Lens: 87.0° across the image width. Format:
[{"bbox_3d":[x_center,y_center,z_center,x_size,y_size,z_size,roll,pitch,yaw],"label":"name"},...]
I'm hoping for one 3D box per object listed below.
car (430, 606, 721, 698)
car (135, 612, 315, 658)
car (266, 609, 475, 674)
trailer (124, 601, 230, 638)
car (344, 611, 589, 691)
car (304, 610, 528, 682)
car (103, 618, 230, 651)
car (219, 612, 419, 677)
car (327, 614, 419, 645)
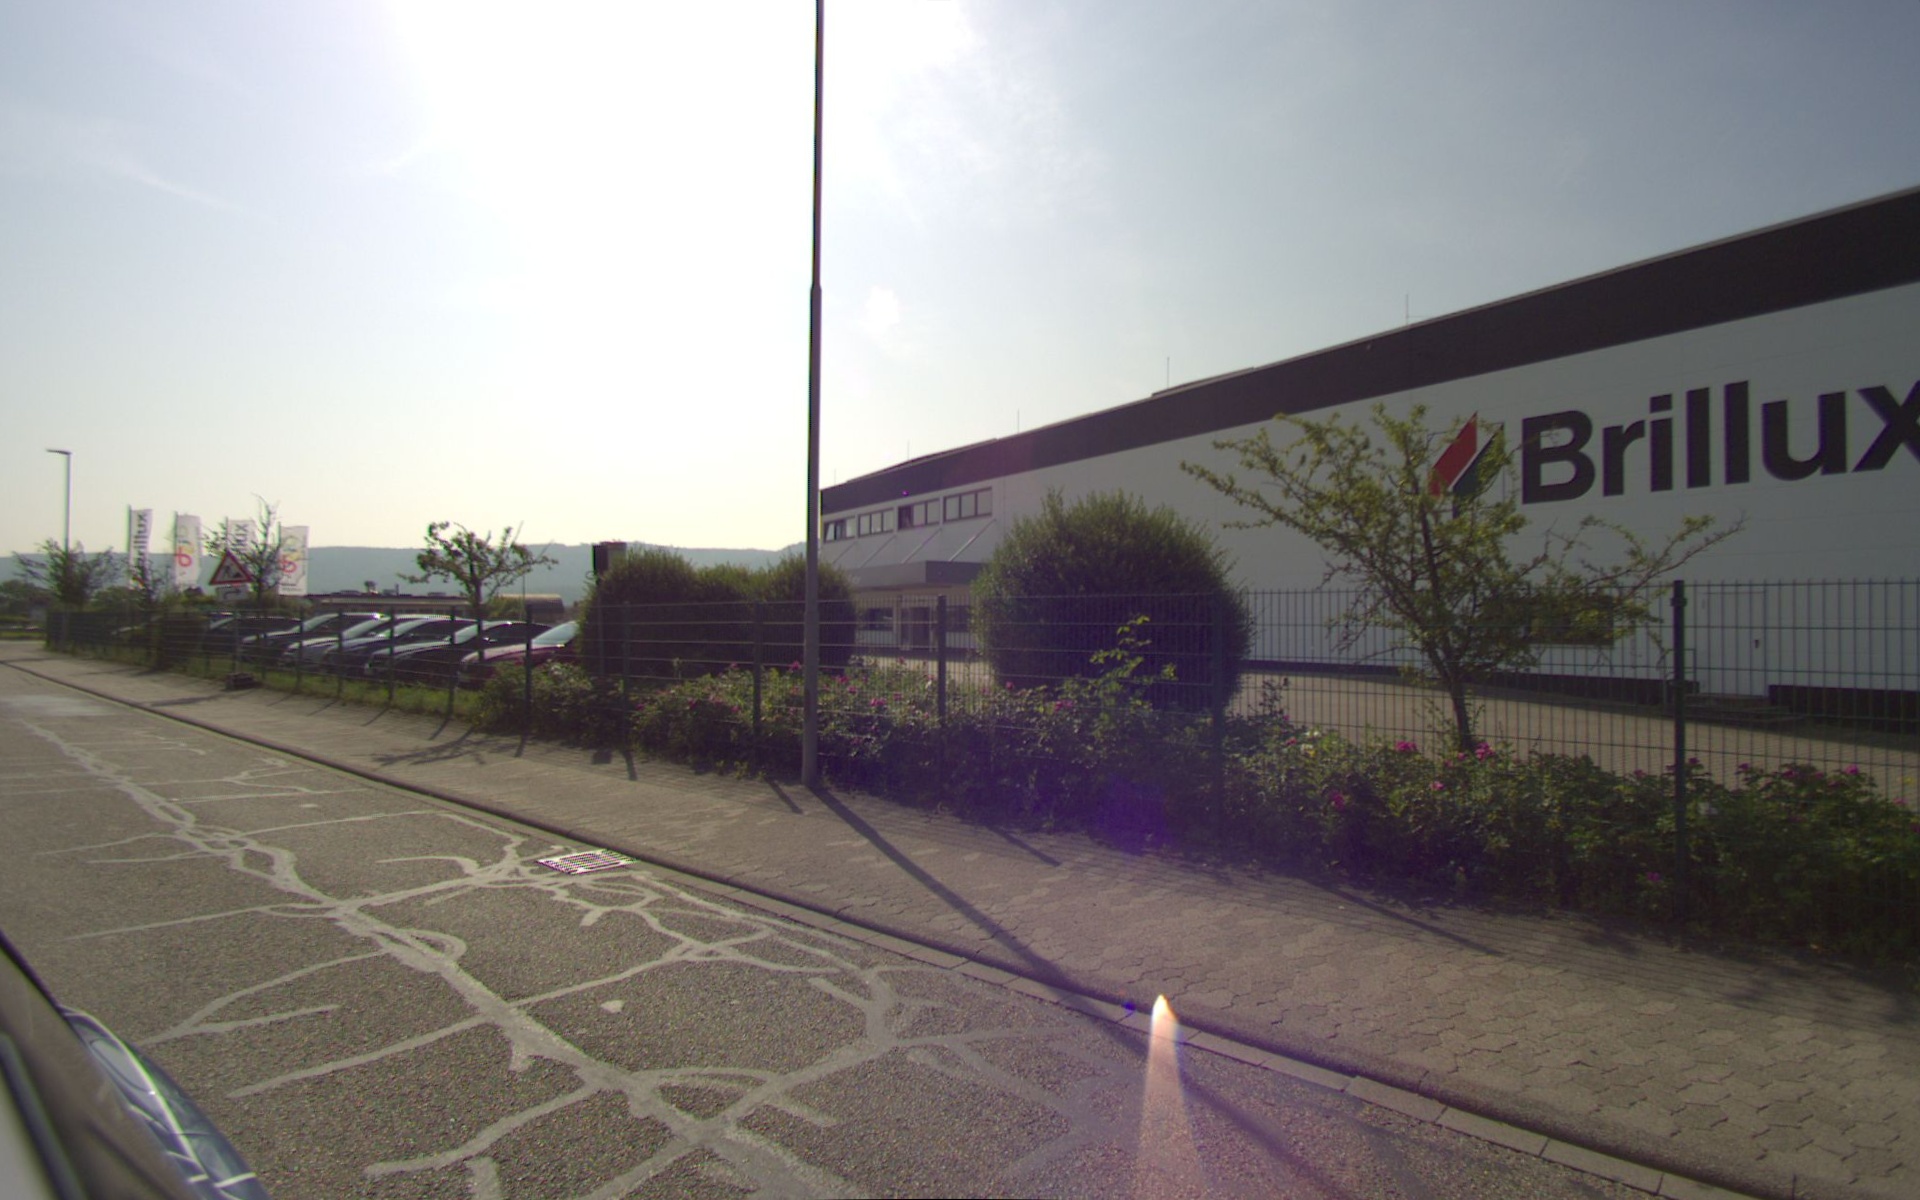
[{"bbox_3d":[-6.793,0.945,18.288,1.951,1.455,4.488,-1,-4,41],"label":"car"},{"bbox_3d":[-25.309,1.245,34.967,2.077,1.455,4.636,-1,-4,41],"label":"car"},{"bbox_3d":[-14.373,1.055,24.839,1.873,1.455,3.998,-1,-4,41],"label":"car"},{"bbox_3d":[-60.557,1.580,78.451,6.222,2.625,2.861,3,-3,-34],"label":"trailer"},{"bbox_3d":[-9.868,1.040,20.471,1.873,1.455,3.998,-1,-4,41],"label":"car"},{"bbox_3d":[-12.137,1.050,22.759,1.873,1.455,3.998,-1,-4,41],"label":"car"},{"bbox_3d":[-34.878,1.497,44.560,1.868,1.378,4.119,-1,-2,42],"label":"car"},{"bbox_3d":[-16.976,1.212,26.952,1.864,1.579,4.084,-1,-4,41],"label":"car"},{"bbox_3d":[-34.596,1.739,59.799,4.584,1.765,2.159,1,-2,-27],"label":"car"}]
